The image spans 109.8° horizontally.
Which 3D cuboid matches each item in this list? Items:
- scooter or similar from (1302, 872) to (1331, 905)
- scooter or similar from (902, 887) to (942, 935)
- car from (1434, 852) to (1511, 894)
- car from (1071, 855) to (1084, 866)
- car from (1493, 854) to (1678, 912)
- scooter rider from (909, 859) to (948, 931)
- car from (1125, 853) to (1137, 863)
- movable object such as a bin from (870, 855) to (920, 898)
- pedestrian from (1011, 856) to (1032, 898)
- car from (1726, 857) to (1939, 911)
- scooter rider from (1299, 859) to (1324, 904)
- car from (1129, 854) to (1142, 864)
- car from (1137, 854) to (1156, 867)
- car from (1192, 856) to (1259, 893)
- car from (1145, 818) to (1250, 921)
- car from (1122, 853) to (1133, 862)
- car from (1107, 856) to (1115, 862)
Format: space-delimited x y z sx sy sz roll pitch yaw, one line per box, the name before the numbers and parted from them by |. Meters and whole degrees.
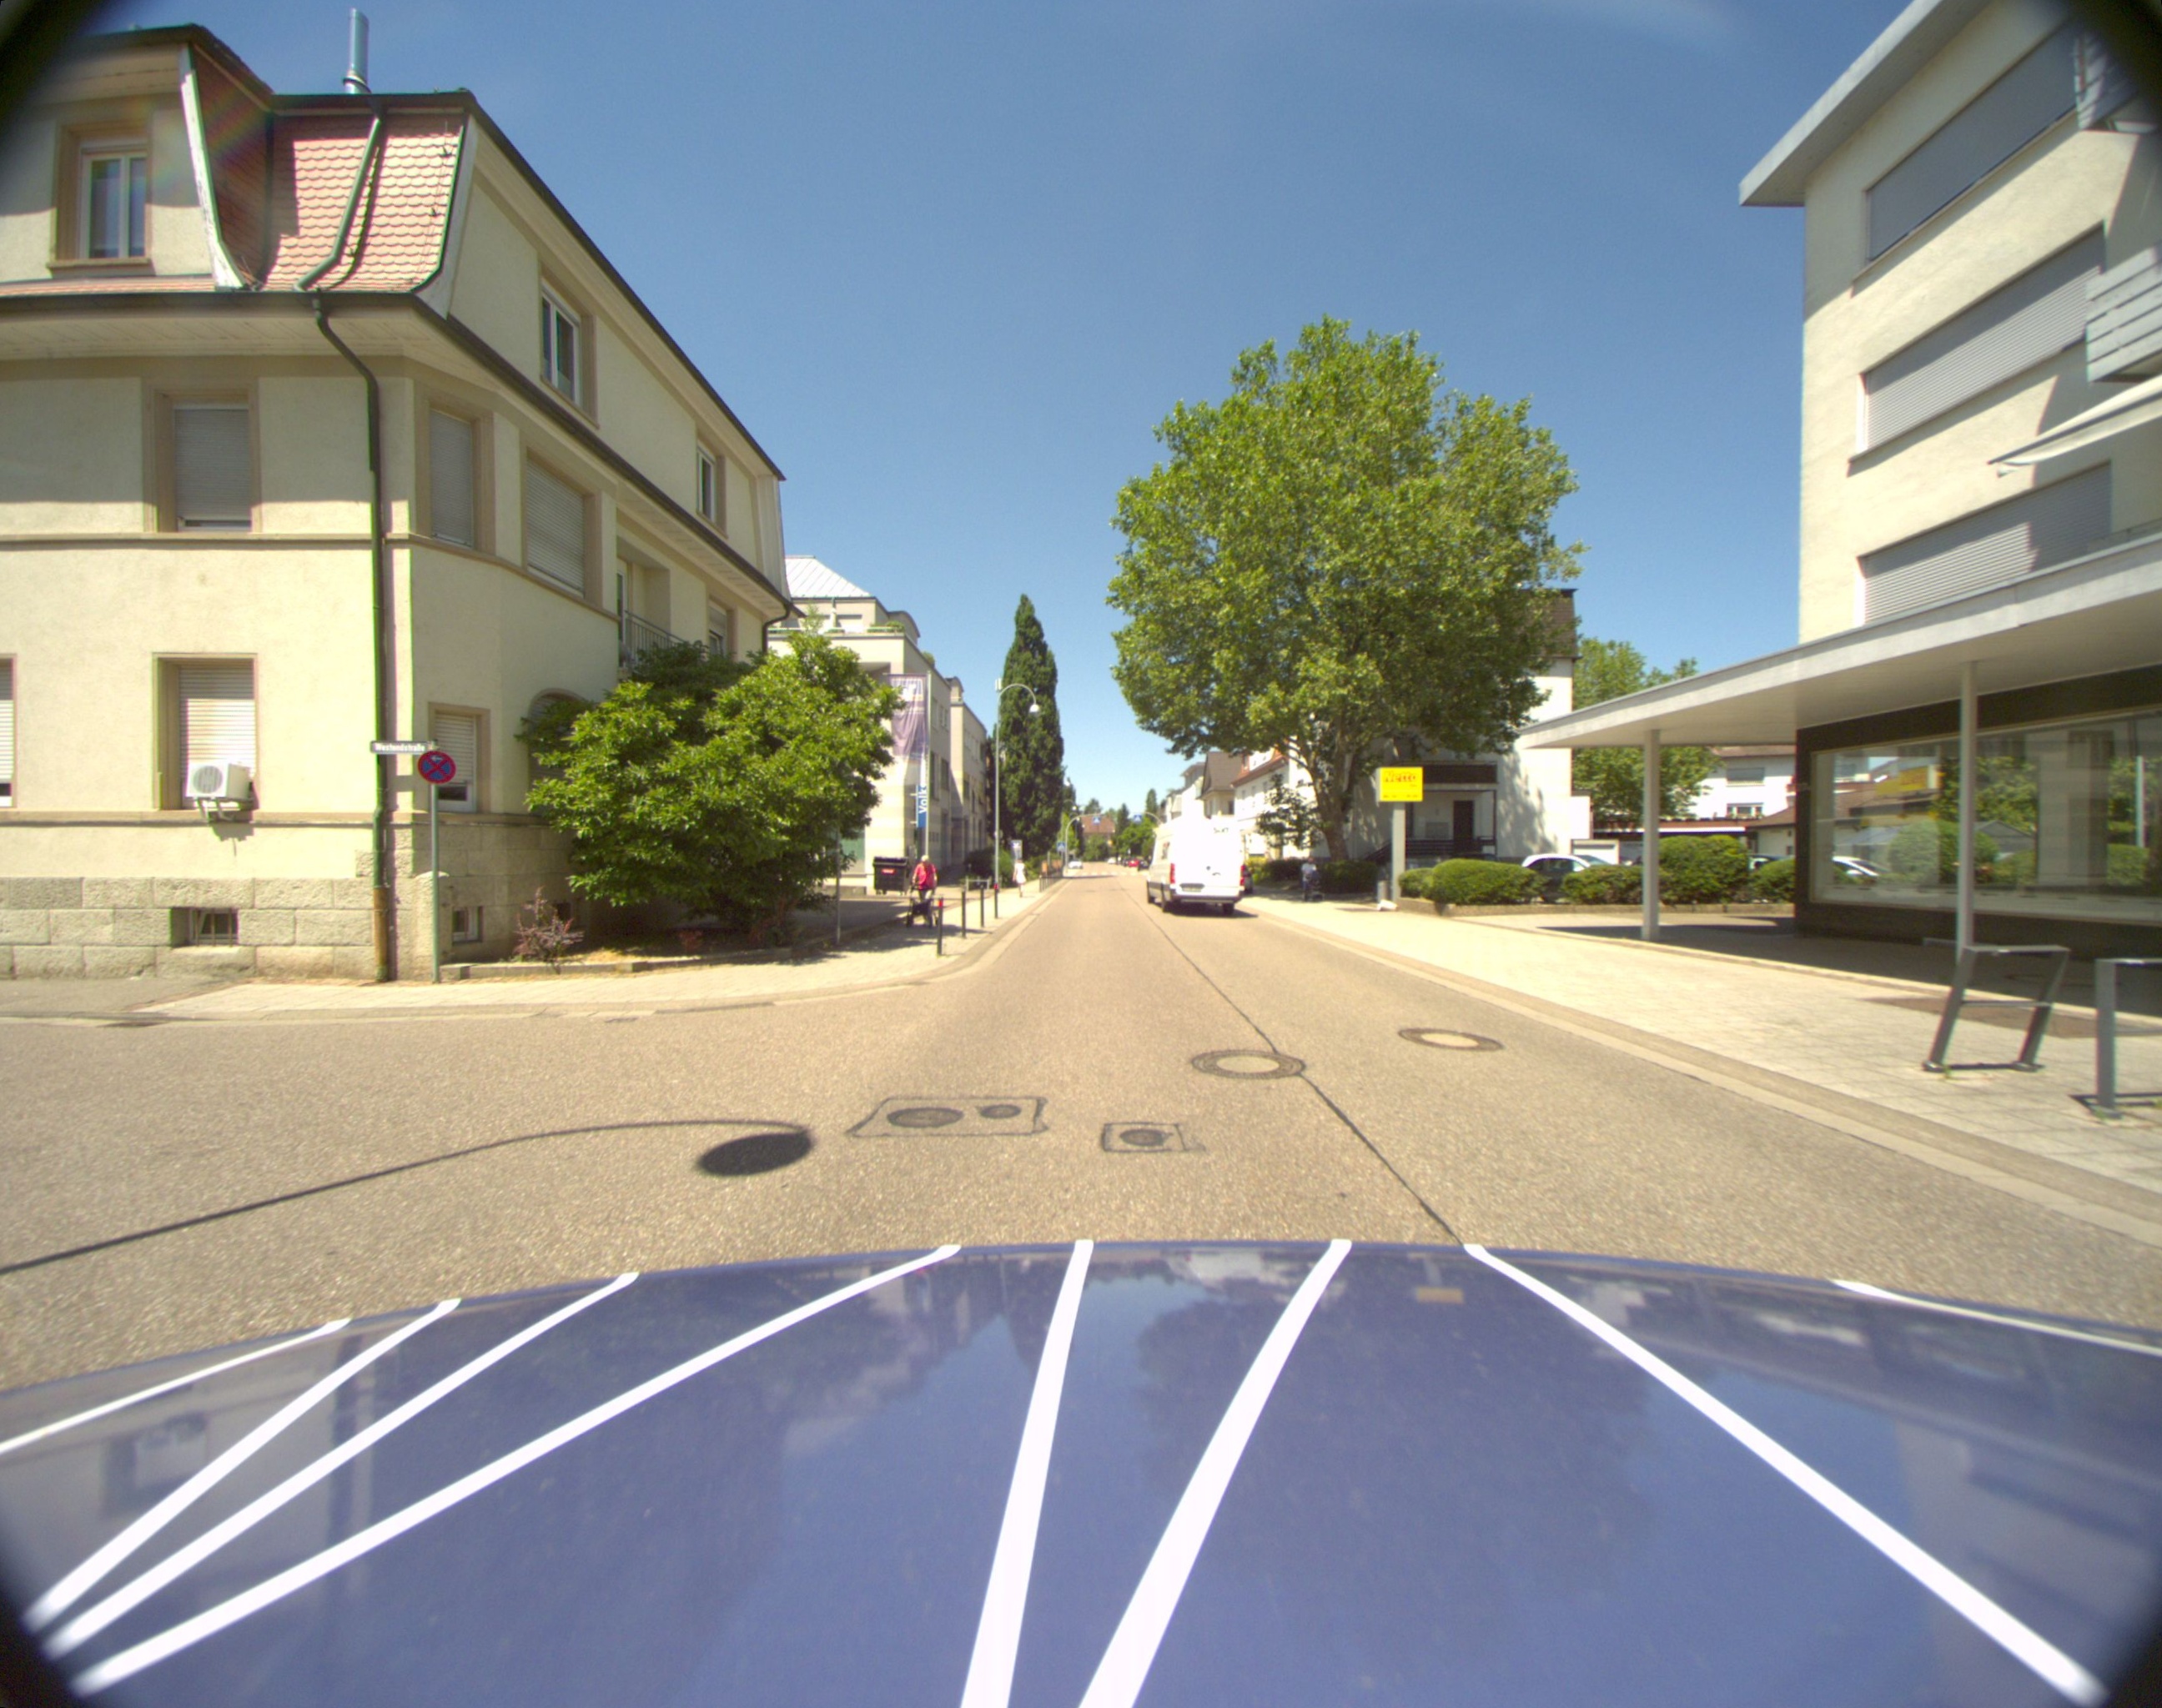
scooter or similar | 8.241 1.188 26.632 0.665 1.092 1.028 -3 0 3
scooter or similar | -3.368 1.196 16.129 0.665 0.957 0.754 1 0 1
car | 15.401 0.682 30.082 1.809 1.536 4.110 0 0 14
car | -0.491 0.918 111.272 1.920 1.460 4.880 0 0 1
car | 14.308 0.758 21.777 1.900 1.478 3.986 -1 0 -29
scooter rider | -3.356 0.895 16.781 0.718 1.539 0.770 0 0 -1
car | 8.524 0.675 129.850 1.925 1.577 4.436 -3 0 2
movable object such as a bin | -6.689 0.779 27.386 1.371 1.450 1.381 2 1 3
pedestrian | -2.371 0.896 30.138 0.702 1.617 0.783 2 1 0
car | 21.671 0.805 22.118 1.778 1.426 4.028 1 -1 -25
scooter rider | 8.275 0.977 27.275 0.590 1.566 0.877 -3 0 3
car | 8.511 0.760 118.551 1.737 1.443 4.260 -3 0 2
car | 7.799 0.781 91.029 1.921 1.443 5.149 -3 0 2
car | 6.290 0.858 33.620 1.986 1.443 5.150 -2 0 0
car | 3.274 0.404 23.001 2.041 2.614 7.107 1 0 0
car | 9.184 0.606 149.749 1.925 1.681 4.288 -3 0 3
car | 6.845 1.108 174.193 1.812 1.473 3.869 1 0 0
